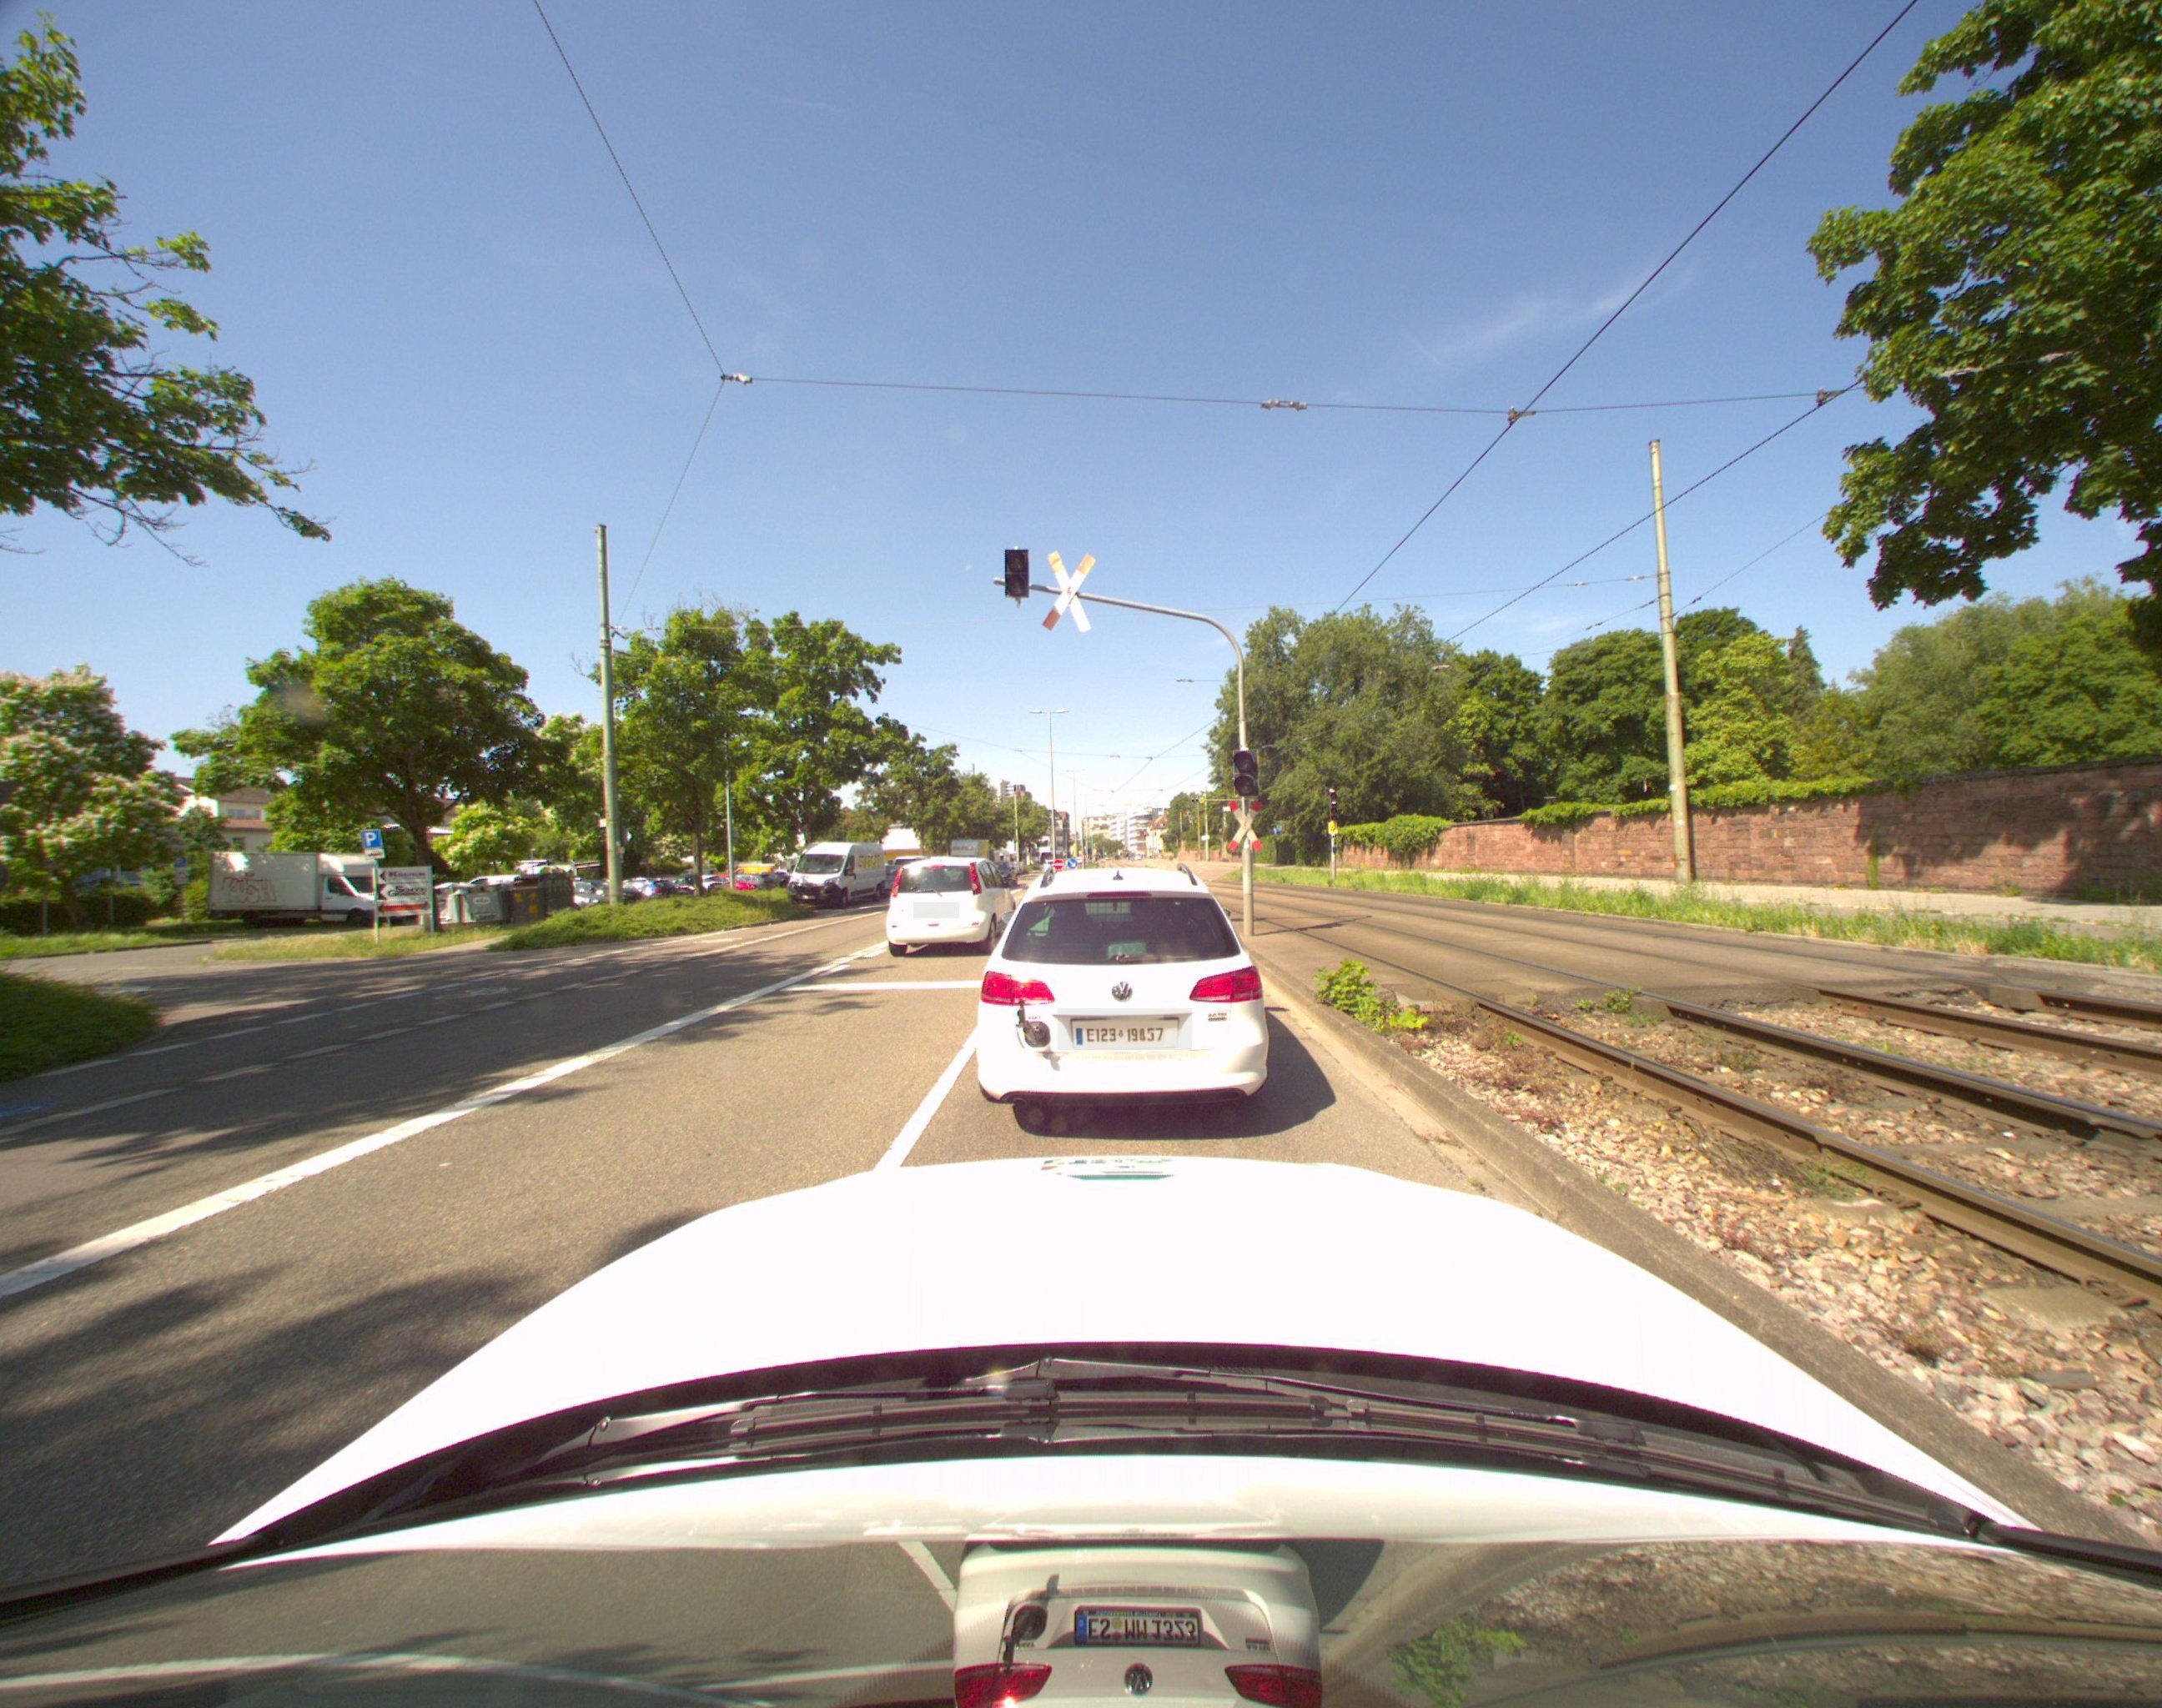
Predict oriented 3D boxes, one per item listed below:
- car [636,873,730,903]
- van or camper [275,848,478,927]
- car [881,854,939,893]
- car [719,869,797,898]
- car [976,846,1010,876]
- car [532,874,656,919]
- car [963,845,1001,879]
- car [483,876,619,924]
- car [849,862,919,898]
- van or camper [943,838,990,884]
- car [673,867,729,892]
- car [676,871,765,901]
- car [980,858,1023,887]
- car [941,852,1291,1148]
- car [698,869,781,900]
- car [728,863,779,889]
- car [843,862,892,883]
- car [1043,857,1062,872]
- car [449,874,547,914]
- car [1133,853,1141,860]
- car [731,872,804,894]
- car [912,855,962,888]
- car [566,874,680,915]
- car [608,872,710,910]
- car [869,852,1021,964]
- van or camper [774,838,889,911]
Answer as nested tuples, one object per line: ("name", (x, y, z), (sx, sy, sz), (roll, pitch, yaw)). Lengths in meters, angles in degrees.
("car", (-20.264, 1.733, 41.536), (3.902, 1.271, 1.664), (-3, -1, 1))
("van or camper", (-32.374, 1.500, 37.607), (6.928, 3.244, 2.581), (-2, 0, -1))
("car", (-9.351, 1.025, 44.925), (2.190, 1.940, 5.180), (-3, 0, -2))
("car", (-19.631, 1.773, 49.564), (3.973, 1.544, 1.664), (-3, -1, 1))
("car", (-8.013, 0.655, 74.855), (2.187, 2.630, 5.982), (-1, 0, 2))
("car", (-19.892, 1.711, 33.368), (3.974, 1.544, 1.663), (-3, -1, -1))
("car", (-8.240, 0.654, 68.139), (2.187, 2.668, 6.083), (-1, 0, 2))
("car", (-19.983, 1.701, 30.803), (3.974, 1.544, 1.663), (-3, -1, -1))
("car", (-9.222, 1.168, 38.572), (1.925, 1.454, 4.887), (-3, 0, 2))
("van or camper", (-8.369, 0.475, 60.207), (2.186, 3.241, 6.777), (-1, 0, 3))
("car", (-33.811, 2.249, 72.528), (3.976, 2.003, 1.909), (-2, 0, -2))
("car", (-19.549, 1.732, 44.301), (3.973, 1.409, 1.733), (-3, 0, 1))
("car", (-4.382, 1.002, 45.585), (1.778, 1.409, 4.307), (-2, 1, 2))
("car", (0.257, 0.734, 6.047), (1.771, 1.490, 3.849), (0, 0, 2))
("car", (-19.578, 1.757, 46.792), (3.973, 1.544, 1.664), (-3, 0, 1))
("car", (-31.096, 2.083, 77.383), (3.977, 2.200, 1.909), (-2, 0, -2))
("car", (-19.364, 1.673, 73.954), (3.974, 1.694, 1.663), (-3, -1, -1))
("car", (-3.102, 1.134, 88.655), (1.721, 1.465, 4.001), (-3, 0, 1))
("car", (-31.825, 2.154, 44.532), (3.977, 1.891, 1.784), (-3, 0, -2))
("car", (17.407, 0.813, 252.190), (2.118, 2.013, 5.285), (-3, 0, 2))
("car", (-19.921, 1.823, 51.846), (3.874, 1.153, 1.664), (-3, -1, 1))
("car", (-9.109, 1.062, 51.925), (2.189, 1.940, 5.184), (-3, 0, 0))
("car", (-20.105, 1.744, 35.853), (3.974, 1.544, 1.663), (-3, -1, -1))
("car", (-20.247, 1.772, 39.200), (3.973, 1.544, 1.664), (-3, -1, 1))
("car", (-2.132, 0.788, 13.879), (1.723, 1.596, 4.013), (-1, 0, 2))
("van or camper", (-9.671, 0.734, 32.234), (2.248, 2.514, 6.152), (-3, 0, 3))
